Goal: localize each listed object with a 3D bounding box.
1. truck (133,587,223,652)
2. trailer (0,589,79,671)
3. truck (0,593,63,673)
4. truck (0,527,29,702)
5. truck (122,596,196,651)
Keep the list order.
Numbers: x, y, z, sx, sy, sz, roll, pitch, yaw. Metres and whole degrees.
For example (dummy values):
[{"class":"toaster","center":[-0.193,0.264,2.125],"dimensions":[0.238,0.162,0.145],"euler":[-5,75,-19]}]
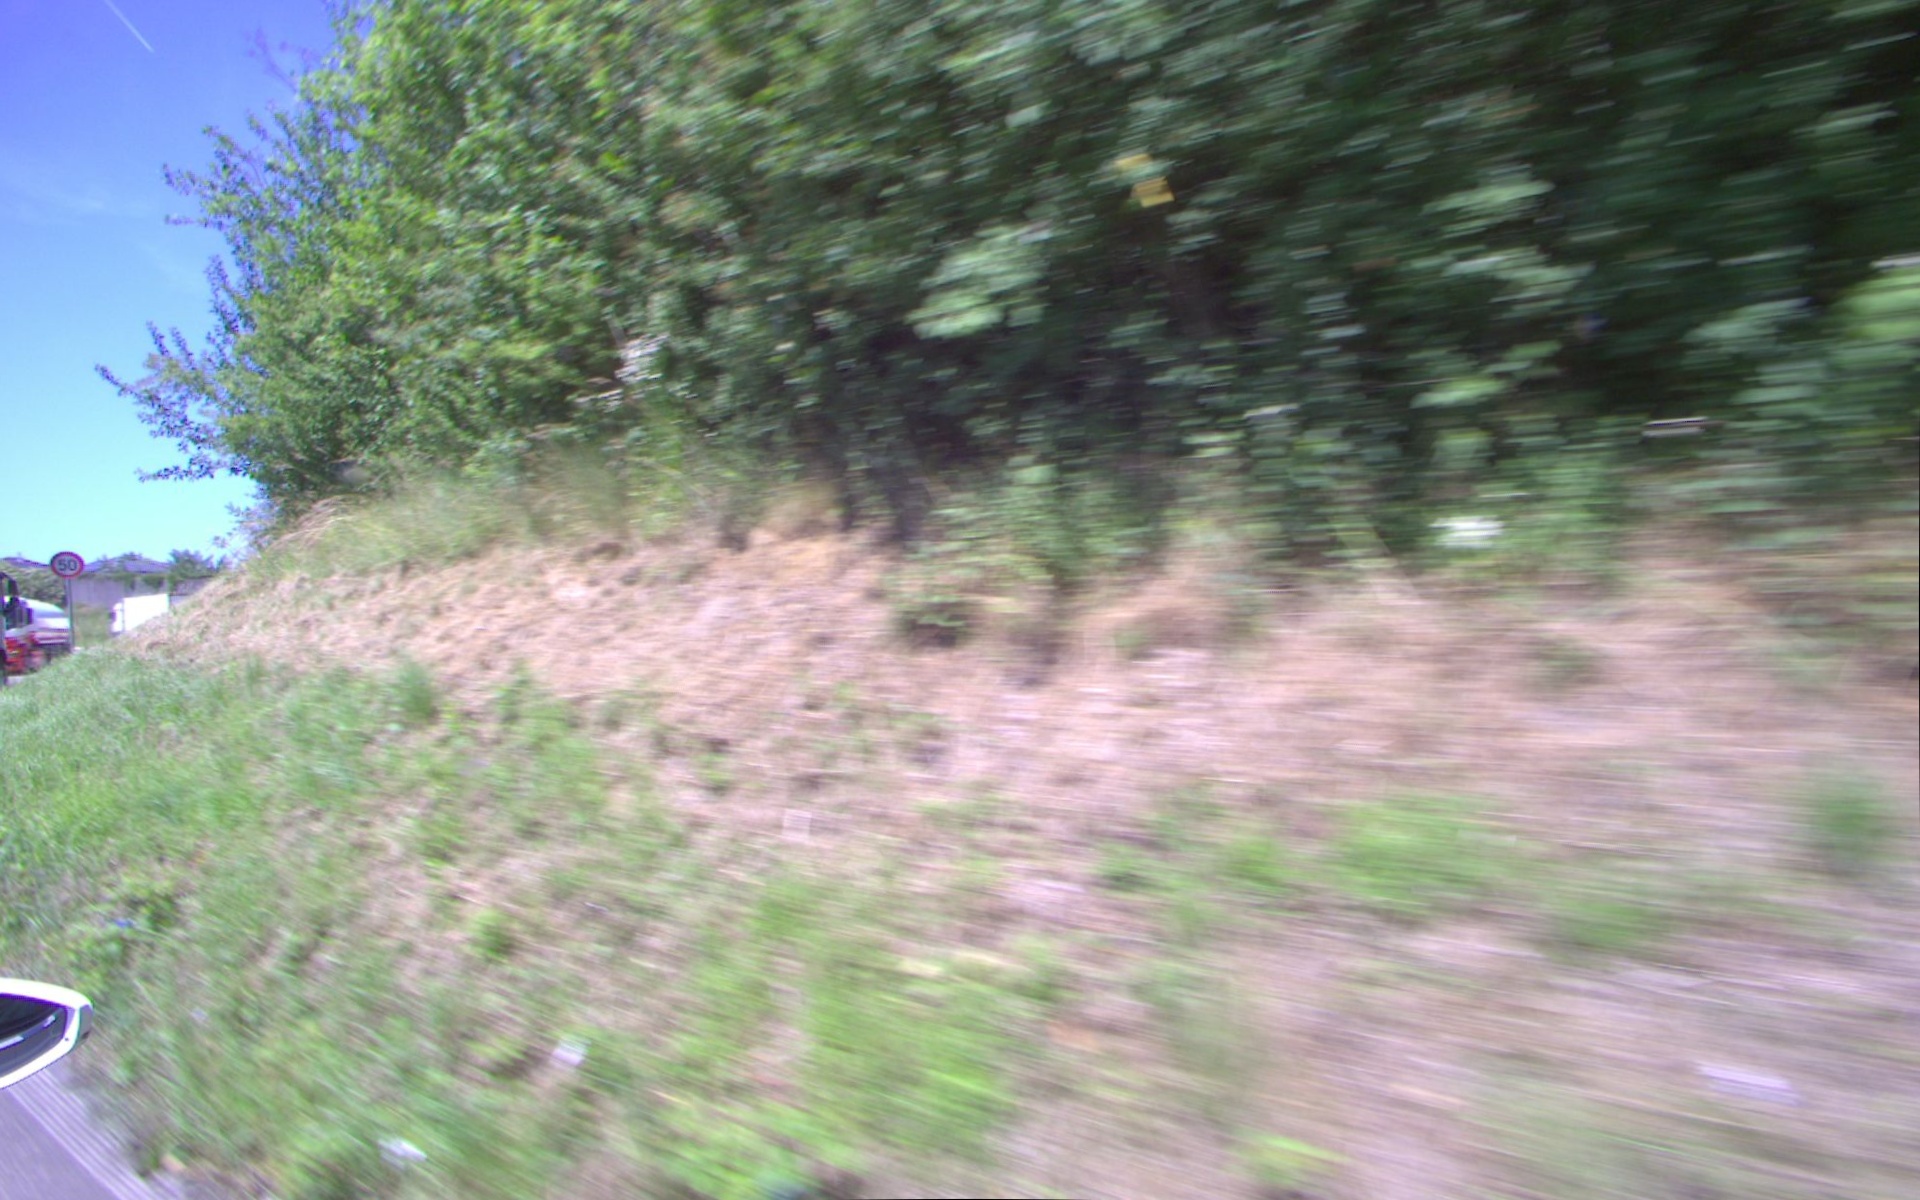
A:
[{"class":"truck","center":[-56.658,1.470,72.388],"dimensions":[11.669,4.365,3.174],"euler":[-1,-1,42]},{"class":"trailer","center":[-43.470,1.431,46.691],"dimensions":[2.609,3.417,11.064],"euler":[-1,-1,-37]},{"class":"truck","center":[-40.947,1.435,43.259],"dimensions":[2.602,3.212,7.017],"euler":[-1,-1,-37]},{"class":"truck","center":[-22.849,0.313,21.861],"dimensions":[2.701,3.980,7.215],"euler":[-1,-1,-35]},{"class":"truck","center":[-61.054,1.772,76.228],"dimensions":[8.160,3.984,3.174],"euler":[-1,-1,42]}]
